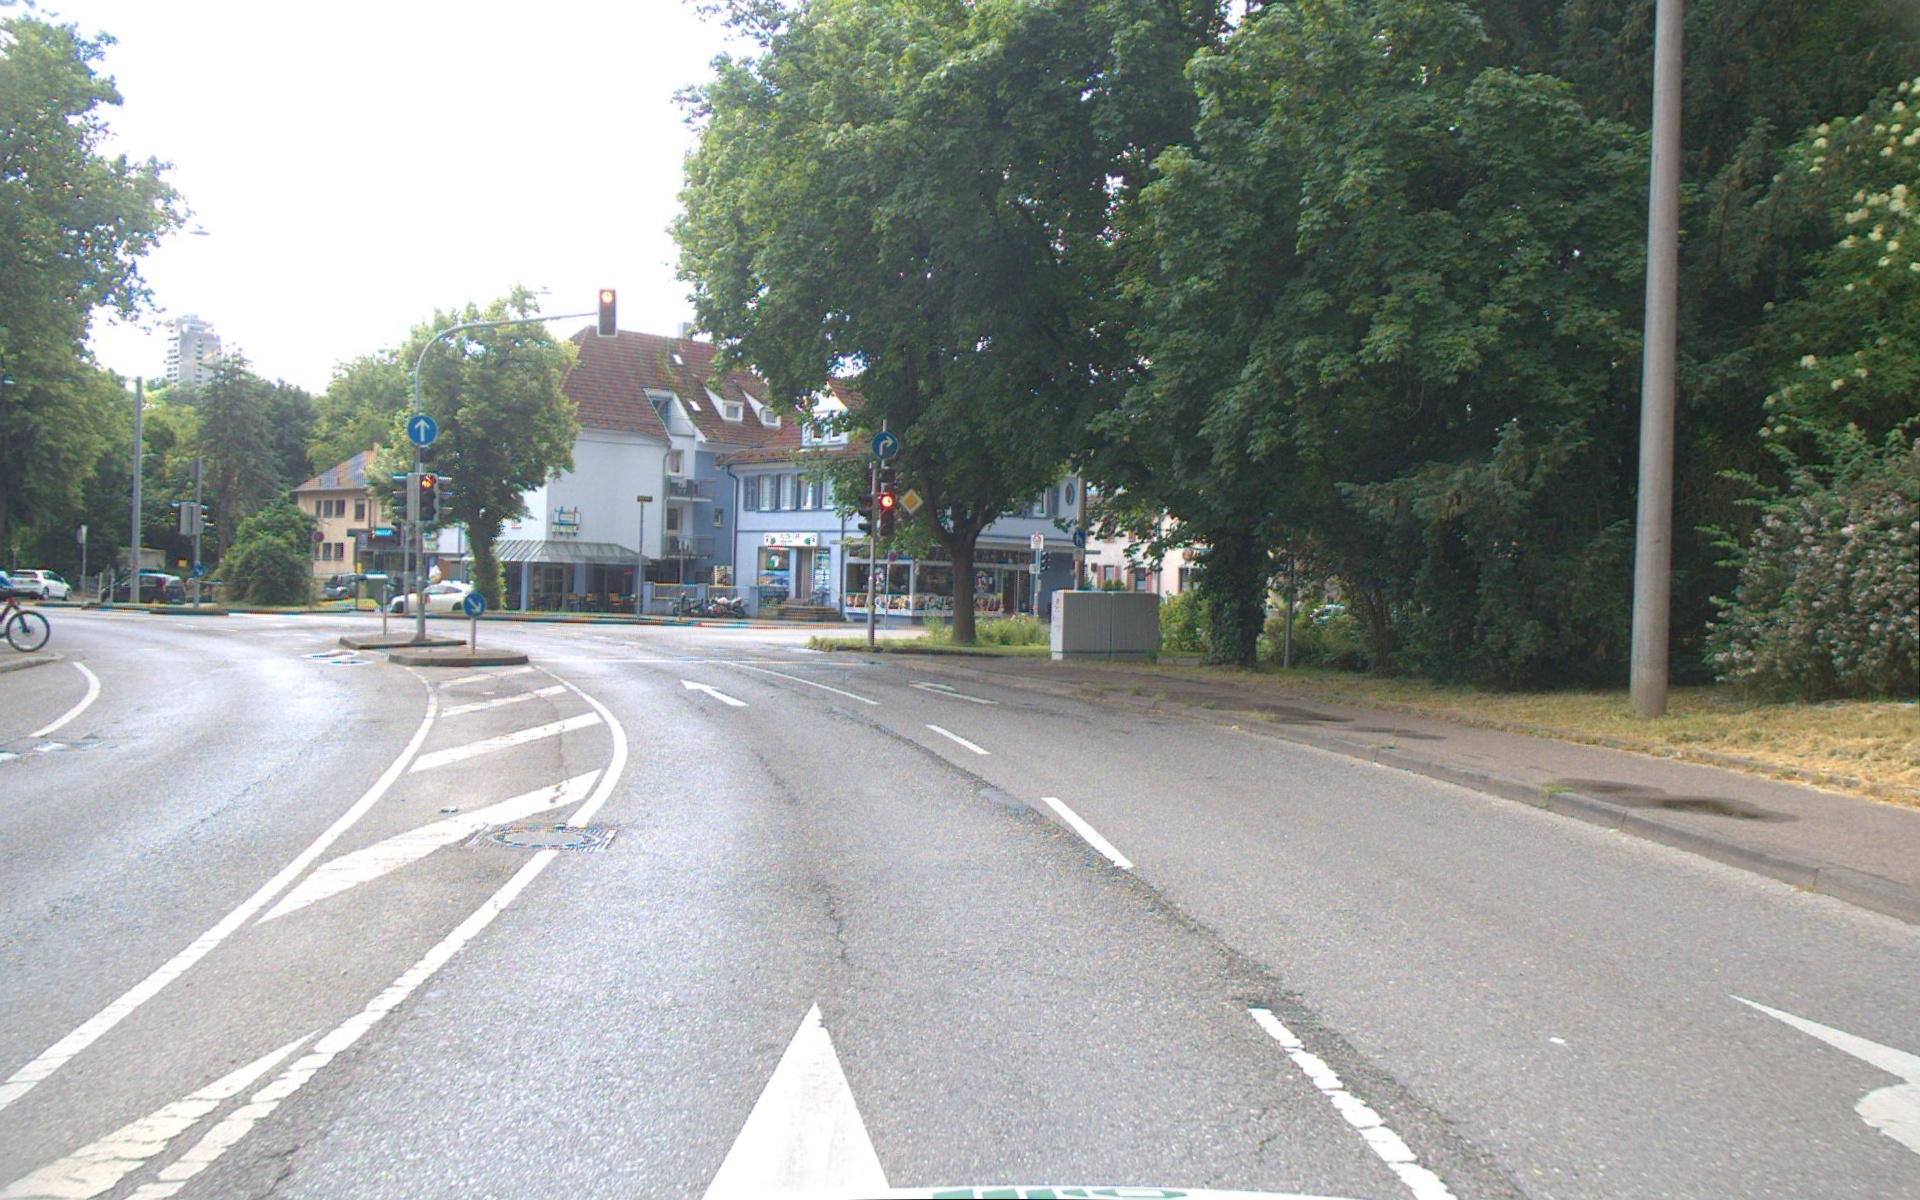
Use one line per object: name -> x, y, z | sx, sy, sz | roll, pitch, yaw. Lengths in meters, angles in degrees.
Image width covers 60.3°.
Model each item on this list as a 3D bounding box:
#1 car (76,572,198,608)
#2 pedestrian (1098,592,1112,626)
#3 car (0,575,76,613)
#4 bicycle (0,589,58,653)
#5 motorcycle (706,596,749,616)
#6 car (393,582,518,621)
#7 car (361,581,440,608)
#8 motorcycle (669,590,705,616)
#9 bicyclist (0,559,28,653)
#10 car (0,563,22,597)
car -> -35.331, -0.435, 71.007 | 4.480, 1.544, 2.002 | 0, 0, 15
pedestrian -> 6.749, 0.399, 77.006 | 0.492, 1.579, 0.402 | 0, 0, 42
car -> -45.351, -0.296, 81.392 | 1.956, 1.803, 3.993 | 0, 0, -7
bicycle -> -16.994, 0.353, 29.011 | 2.048, 1.101, 0.932 | 1, 0, -30
motorcycle -> -10.336, 0.263, 73.501 | 1.797, 0.862, 0.561 | 0, 6, 16
car -> -20.481, 0.032, 67.254 | 4.480, 1.544, 2.002 | 0, 0, 15
car -> -31.776, -0.331, 94.001 | 3.961, 1.512, 1.735 | 0, 0, -40
motorcycle -> -12.314, 0.140, 74.687 | 1.463, 1.126, 0.561 | 0, 5, 13
bicyclist -> -16.997, 0.100, 29.003 | 1.087, 1.627, 0.932 | 1, 0, -29
car -> -46.768, -0.941, 78.084 | 3.902, 1.601, 2.002 | 0, 0, 8
